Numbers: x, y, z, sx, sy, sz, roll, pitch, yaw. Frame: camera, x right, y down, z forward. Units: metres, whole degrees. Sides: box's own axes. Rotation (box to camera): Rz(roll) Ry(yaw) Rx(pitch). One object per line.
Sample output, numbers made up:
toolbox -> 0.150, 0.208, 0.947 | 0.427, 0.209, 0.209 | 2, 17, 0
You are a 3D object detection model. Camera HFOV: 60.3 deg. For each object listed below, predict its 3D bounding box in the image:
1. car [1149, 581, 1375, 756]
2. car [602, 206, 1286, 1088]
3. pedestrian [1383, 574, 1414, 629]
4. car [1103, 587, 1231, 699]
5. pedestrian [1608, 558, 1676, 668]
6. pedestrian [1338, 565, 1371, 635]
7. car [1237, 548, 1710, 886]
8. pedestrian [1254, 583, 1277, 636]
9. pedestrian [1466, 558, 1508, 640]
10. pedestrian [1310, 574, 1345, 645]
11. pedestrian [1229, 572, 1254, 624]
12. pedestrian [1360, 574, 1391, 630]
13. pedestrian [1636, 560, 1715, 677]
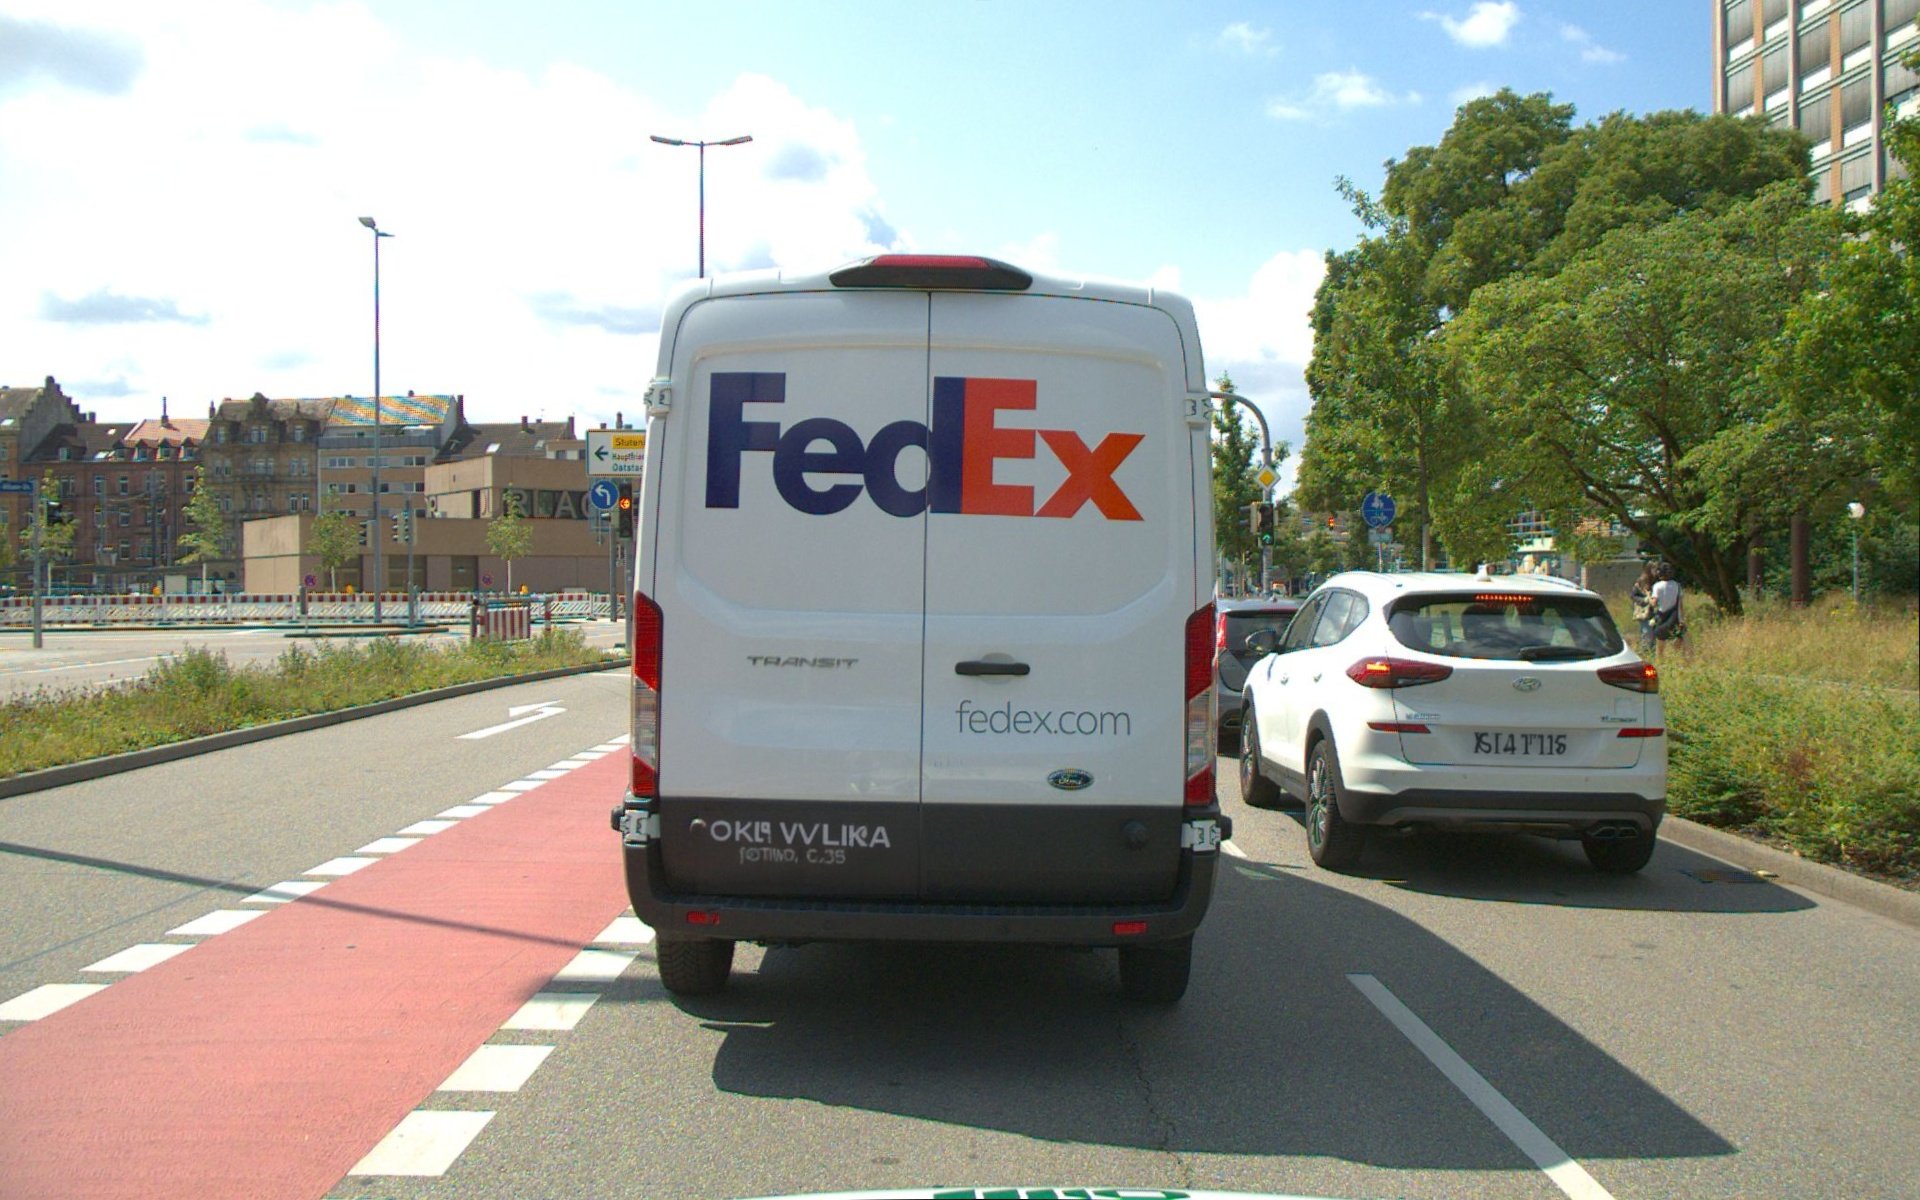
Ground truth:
car -> 2.944, 0.597, 16.808 | 1.656, 1.576, 3.721 | 0, 1, 1
car -> -0.019, 0.117, 7.163 | 2.030, 2.626, 4.428 | 0, 1, 1
pedestrian -> 14.997, 0.045, 56.594 | 0.745, 1.882, 0.814 | 0, 0, -9
car -> 2.948, 0.571, 24.077 | 1.468, 1.489, 3.474 | 0, 1, 1
pedestrian -> 10.651, 0.190, 25.840 | 0.743, 1.684, 0.816 | 0, 0, 3
pedestrian -> 10.650, 0.001, 44.672 | 0.743, 1.882, 0.816 | 0, 0, 3
car -> 2.937, 0.572, 10.381 | 1.777, 1.708, 3.974 | 0, 1, 1
pedestrian -> 10.928, 0.346, 59.209 | 0.742, 1.882, 0.817 | 0, 0, 14
pedestrian -> 11.884, -0.021, 37.312 | 0.742, 1.820, 0.817 | 0, 0, 7
pedestrian -> 9.829, 0.247, 44.232 | 0.743, 1.882, 0.816 | 0, 0, 1
pedestrian -> 10.214, -0.074, 60.020 | 0.796, 1.882, 0.761 | 0, 0, 2
pedestrian -> 14.148, 0.064, 56.278 | 0.745, 1.882, 0.814 | -1, 0, -11
pedestrian -> 9.903, 0.245, 22.911 | 0.743, 1.584, 0.816 | 0, 0, 1
